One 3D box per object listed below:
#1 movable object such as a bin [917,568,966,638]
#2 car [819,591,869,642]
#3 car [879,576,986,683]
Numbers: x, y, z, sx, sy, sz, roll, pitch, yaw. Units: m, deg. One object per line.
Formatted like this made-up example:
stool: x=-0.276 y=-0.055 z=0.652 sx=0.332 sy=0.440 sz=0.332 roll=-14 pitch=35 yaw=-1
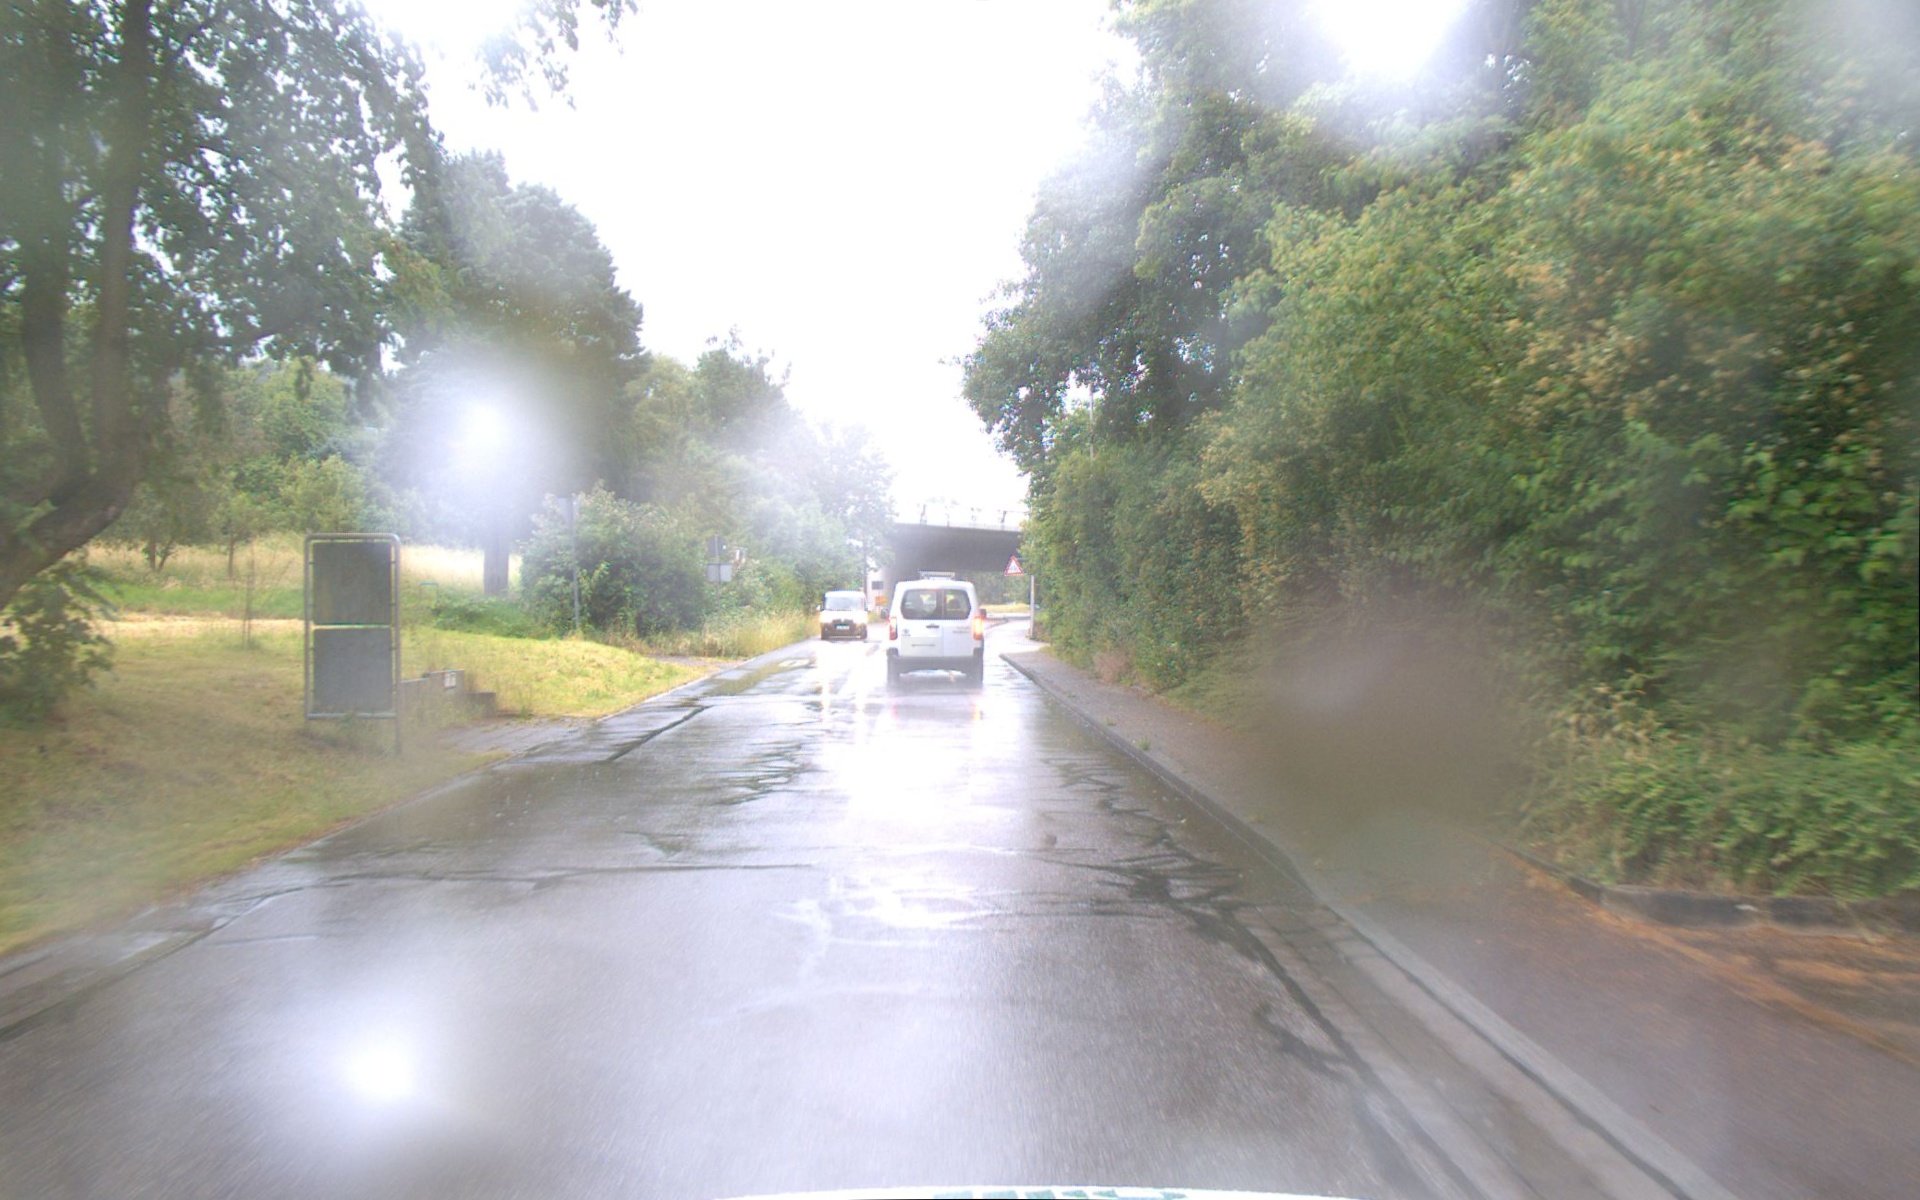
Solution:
movable object such as a bin: x=-0.674 y=0.117 z=63.473 sx=1.725 sy=2.592 sz=4.239 roll=1 pitch=0 yaw=1
car: x=-4.441 y=0.623 z=63.648 sx=1.787 sy=1.864 sz=4.305 roll=0 pitch=0 yaw=-2
car: x=-0.495 y=0.502 z=31.089 sx=1.858 sy=1.838 sz=4.000 roll=-1 pitch=1 yaw=0
